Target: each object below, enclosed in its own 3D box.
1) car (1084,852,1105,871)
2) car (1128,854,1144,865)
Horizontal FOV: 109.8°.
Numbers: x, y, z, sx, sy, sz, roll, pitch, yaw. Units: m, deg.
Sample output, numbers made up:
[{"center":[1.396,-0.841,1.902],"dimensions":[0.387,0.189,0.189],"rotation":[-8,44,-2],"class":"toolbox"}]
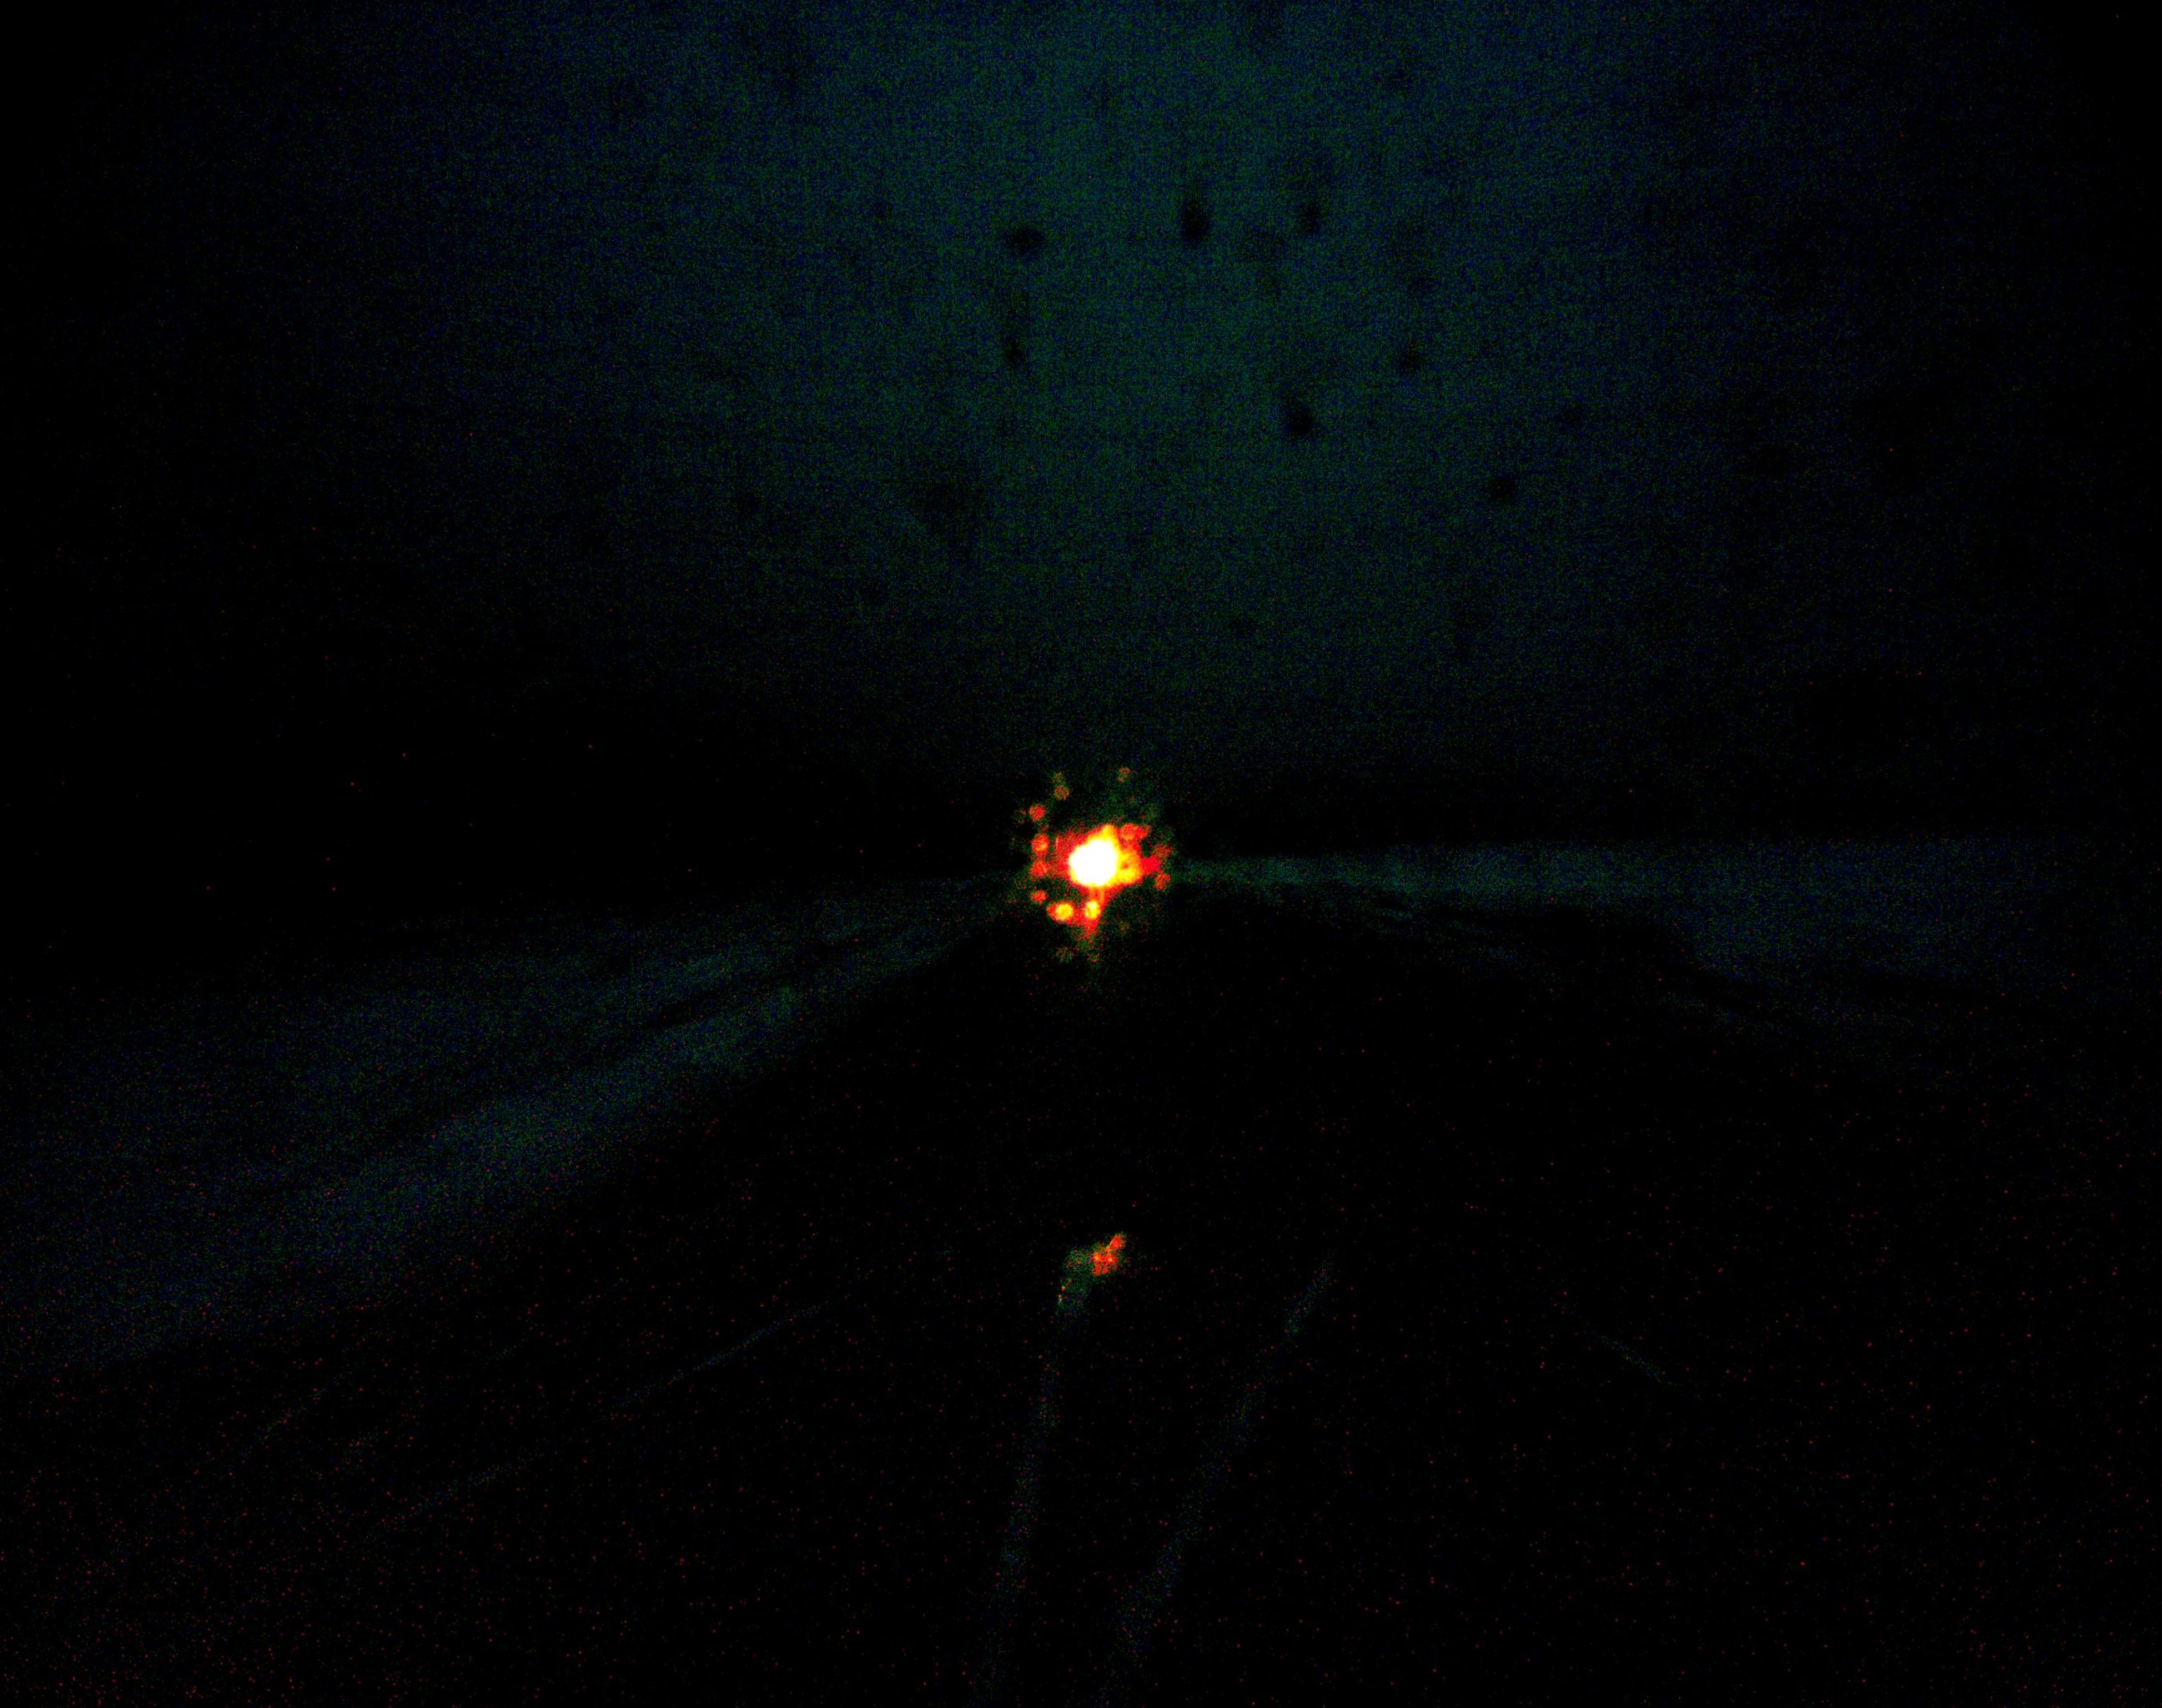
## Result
[{"center":[1.577,0.870,88.705],"dimensions":[1.998,2.002,4.001],"rotation":[-4,1,5],"class":"car"},{"center":[6.874,0.685,95.008],"dimensions":[1.732,1.338,4.222],"rotation":[0,0,1],"class":"car"}]
